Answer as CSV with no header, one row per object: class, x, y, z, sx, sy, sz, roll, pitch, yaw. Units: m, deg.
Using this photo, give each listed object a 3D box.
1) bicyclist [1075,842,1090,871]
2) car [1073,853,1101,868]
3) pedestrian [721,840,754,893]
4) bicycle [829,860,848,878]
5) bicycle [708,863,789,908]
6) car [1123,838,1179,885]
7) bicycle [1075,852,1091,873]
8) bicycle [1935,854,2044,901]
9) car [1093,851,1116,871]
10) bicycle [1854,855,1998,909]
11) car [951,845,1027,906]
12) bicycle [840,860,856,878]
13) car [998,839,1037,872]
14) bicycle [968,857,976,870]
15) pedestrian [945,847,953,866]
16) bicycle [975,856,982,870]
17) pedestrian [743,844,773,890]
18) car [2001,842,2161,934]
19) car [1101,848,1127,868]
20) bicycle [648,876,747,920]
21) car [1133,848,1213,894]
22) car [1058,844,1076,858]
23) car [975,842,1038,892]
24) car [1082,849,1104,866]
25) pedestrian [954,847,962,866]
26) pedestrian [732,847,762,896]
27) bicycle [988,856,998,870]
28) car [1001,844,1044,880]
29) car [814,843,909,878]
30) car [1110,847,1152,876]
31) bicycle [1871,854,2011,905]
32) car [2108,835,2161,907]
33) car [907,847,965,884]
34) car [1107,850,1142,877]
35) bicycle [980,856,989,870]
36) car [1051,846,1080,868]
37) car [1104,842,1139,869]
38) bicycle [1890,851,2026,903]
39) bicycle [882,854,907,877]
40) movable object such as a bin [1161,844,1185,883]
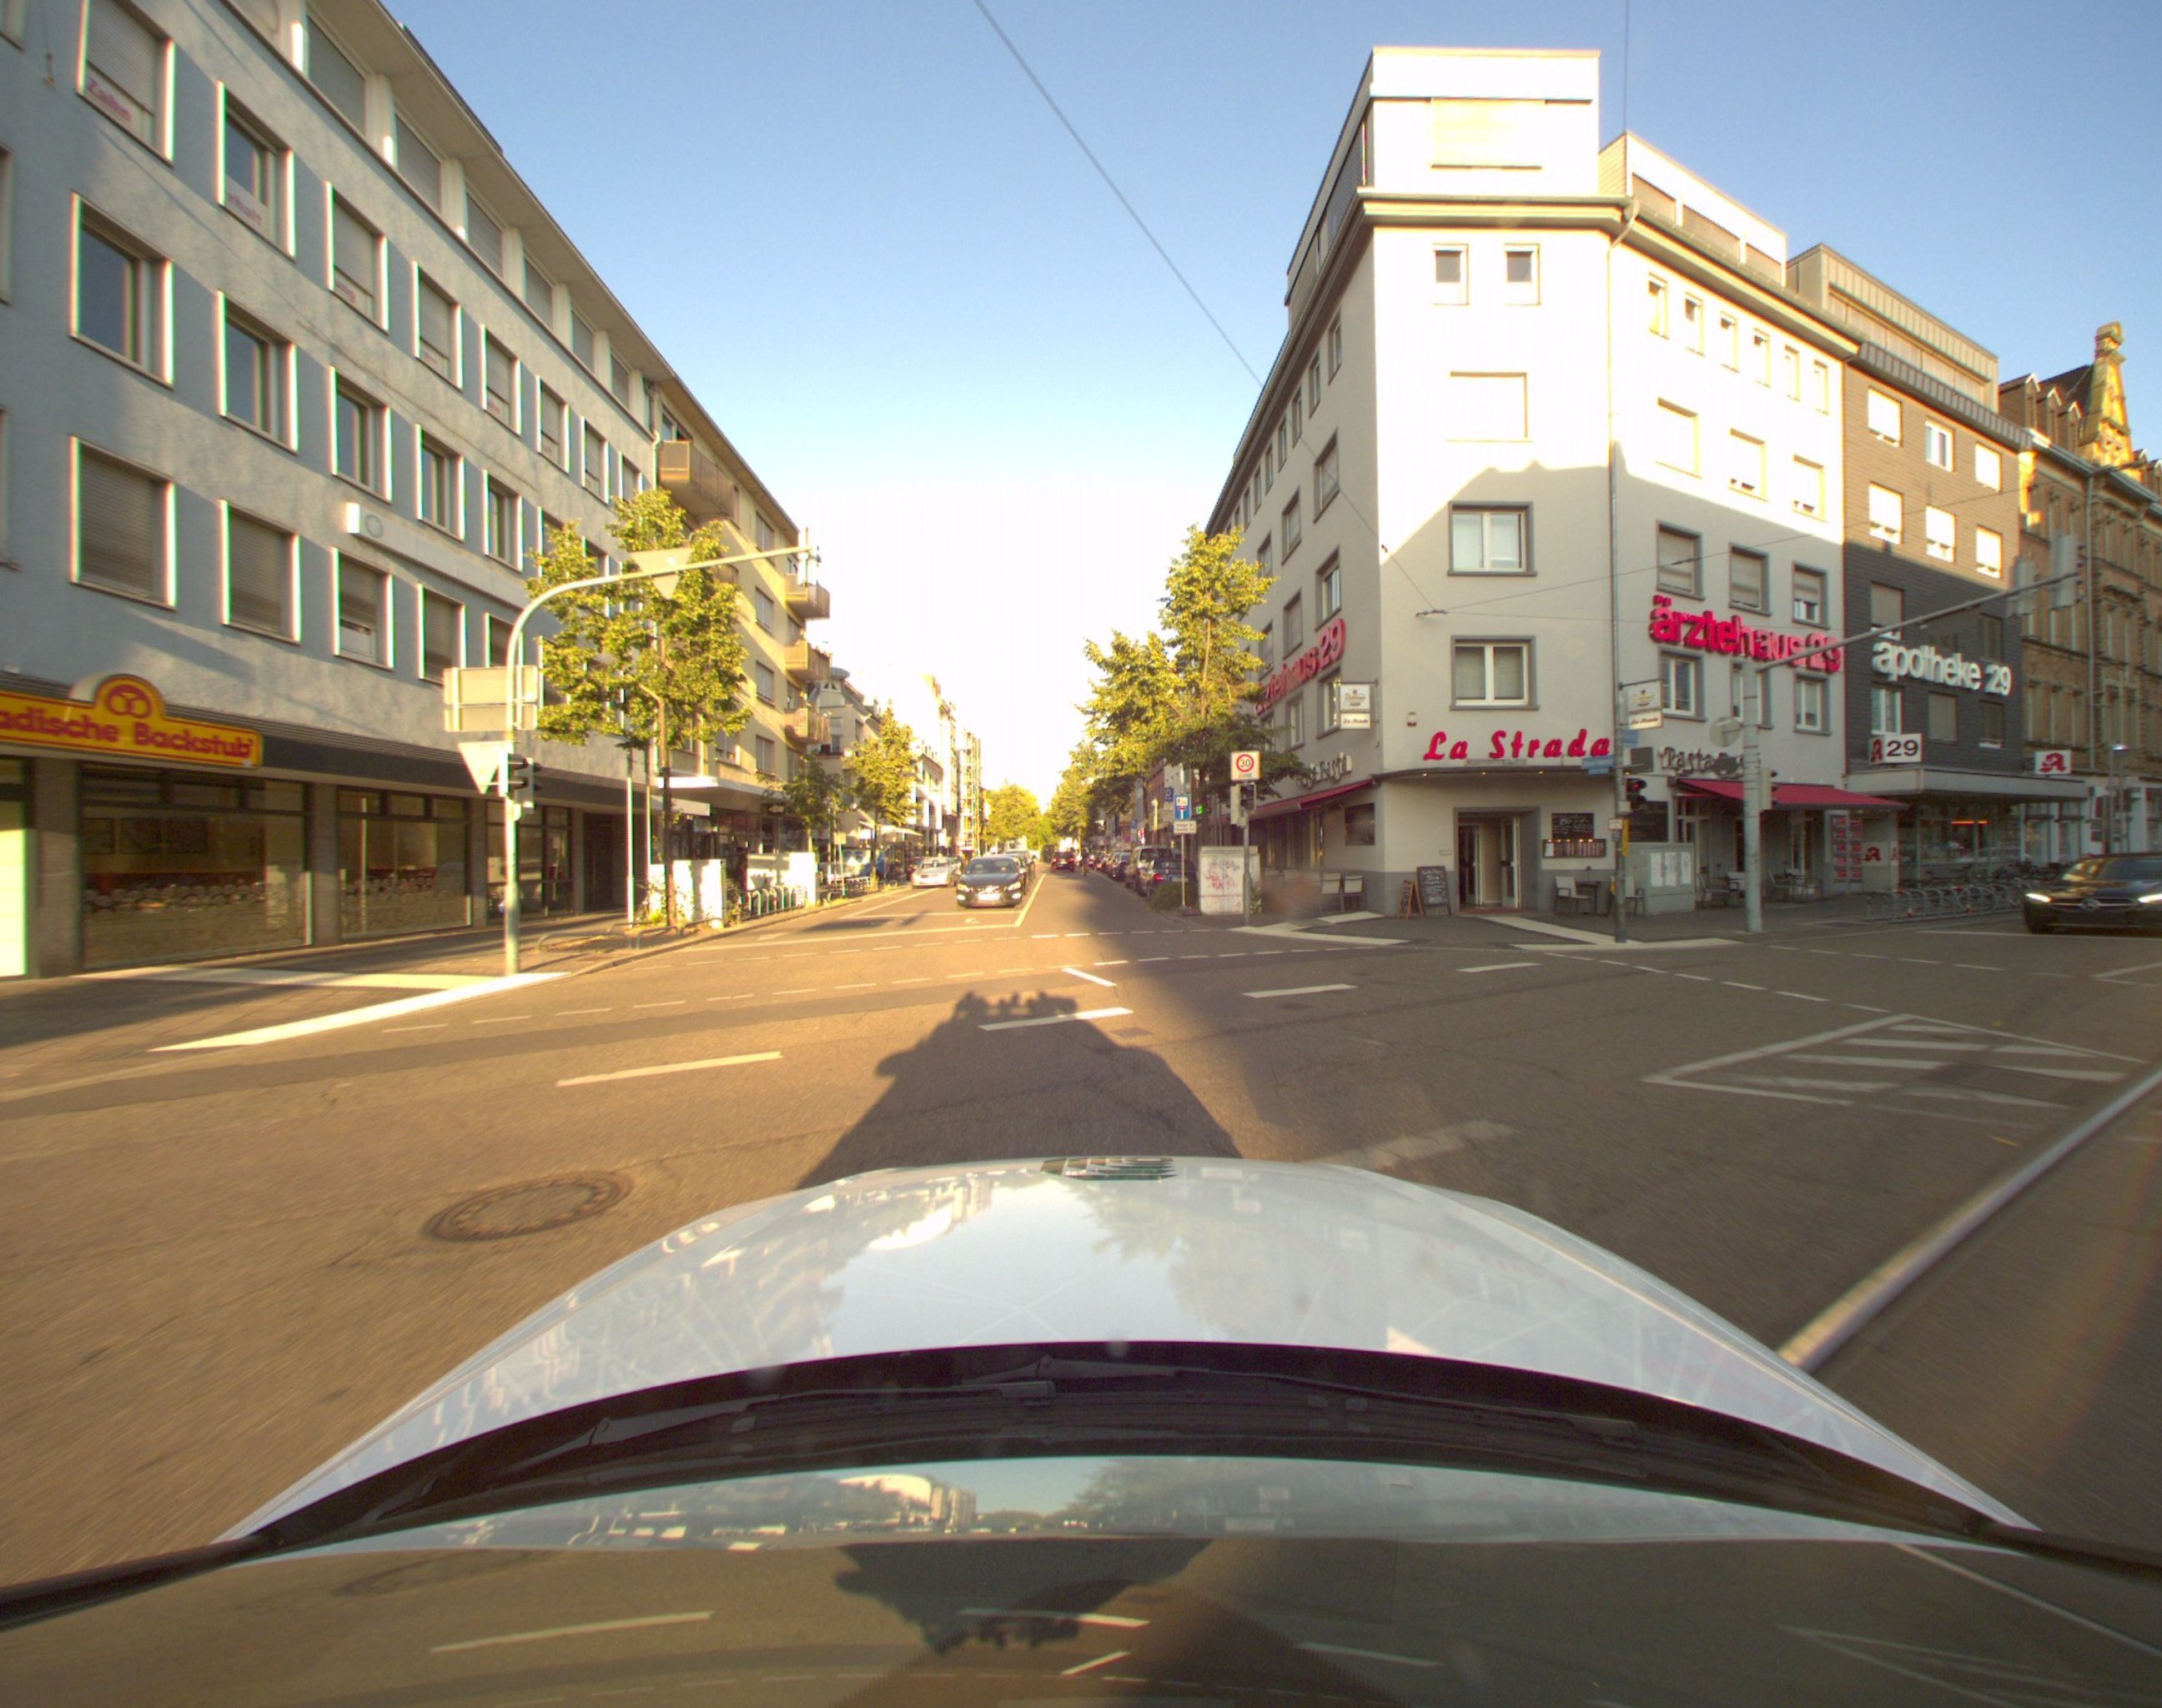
bicyclist,0.084,0.157,48.737,0.779,1.696,1.006,-2,-1,-4
car,0.681,0.710,89.130,2.964,1.536,1.430,1,-1,-6
pedestrian,-12.289,0.438,29.122,0.763,1.847,0.745,-1,1,8
bicycle,-13.846,0.854,46.544,0.488,0.992,2.015,0,-1,0
bicycle,-9.152,0.859,22.450,2.004,1.219,0.491,0,-1,-2
car,2.779,0.284,33.176,1.651,1.778,4.005,1,0,-5
bicycle,0.105,0.485,48.732,0.779,1.204,2.018,-2,-1,-4
bicycle,23.584,0.596,21.175,0.679,1.156,1.789,1,-1,-31
car,1.984,0.590,69.935,1.807,1.668,4.203,0,-1,-1
bicycle,19.909,0.629,19.253,0.657,1.193,2.273,1,-1,-30
car,-2.562,0.543,23.681,1.954,1.547,4.504,-1,1,-4
bicycle,-13.295,0.861,46.508,0.488,0.992,2.013,1,-1,-3
car,-3.393,0.109,44.093,1.936,1.645,4.733,-2,-1,-3
bicycle,-11.690,1.004,87.048,0.721,1.395,3.142,1,-1,-10
pedestrian,-12.348,0.218,76.440,0.716,1.767,0.692,1,-1,-10
bicycle,-11.025,0.969,87.183,0.585,1.395,3.150,1,-1,-10
pedestrian,-12.061,0.486,30.418,0.760,1.676,0.747,-1,-1,40
car,18.978,0.530,14.781,4.490,1.469,1.964,-1,-1,-27
car,2.471,0.334,62.001,1.757,1.483,4.304,0,-1,-1
bicycle,-8.896,1.021,18.944,2.006,0.992,0.490,1,-1,-6
car,2.903,0.506,26.649,1.933,1.376,4.177,1,0,-3
car,-2.029,-0.378,116.371,2.261,1.766,4.501,6,-1,-5
car,-2.651,0.477,30.072,1.940,1.645,4.612,-2,-1,-1
car,1.170,0.307,83.329,1.822,1.695,4.362,1,0,-5
pedestrian,-11.513,0.224,76.496,0.716,1.740,0.736,1,-1,-10
pedestrian,-12.716,0.651,31.028,0.738,1.819,0.813,-1,0,0
bicycle,-9.495,0.953,87.503,0.893,1.395,3.155,0,-1,-10
car,-2.699,0.390,38.355,1.719,1.549,4.462,-2,-1,-1
car,-11.974,0.353,44.440,4.881,1.828,1.986,1,-1,-20
car,2.536,0.361,42.413,1.748,1.420,4.505,1,0,-2
bicycle,20.972,0.597,19.933,0.657,1.193,2.273,1,-1,-31
car,25.213,0.328,18.191,4.409,1.524,1.982,-1,-2,-27
car,-6.781,0.549,38.510,1.988,1.511,4.506,-3,-1,-2
car,2.548,0.575,48.623,1.806,1.527,4.993,0,-1,0
bicycle,-10.338,0.961,87.330,0.781,1.373,3.131,1,-1,-10
car,-1.154,0.231,62.822,1.986,1.602,4.512,0,-1,2
car,2.682,0.130,54.868,1.879,1.754,5.053,0,-1,-3
bicycle,22.148,0.546,20.630,0.658,1.193,2.273,-2,2,-30
bicycle,-11.083,0.698,48.454,0.956,1.300,3.123,0,-1,-3
movable object such as a bin,4.191,0.437,37.118,0.833,1.774,1.203,1,-1,-5
